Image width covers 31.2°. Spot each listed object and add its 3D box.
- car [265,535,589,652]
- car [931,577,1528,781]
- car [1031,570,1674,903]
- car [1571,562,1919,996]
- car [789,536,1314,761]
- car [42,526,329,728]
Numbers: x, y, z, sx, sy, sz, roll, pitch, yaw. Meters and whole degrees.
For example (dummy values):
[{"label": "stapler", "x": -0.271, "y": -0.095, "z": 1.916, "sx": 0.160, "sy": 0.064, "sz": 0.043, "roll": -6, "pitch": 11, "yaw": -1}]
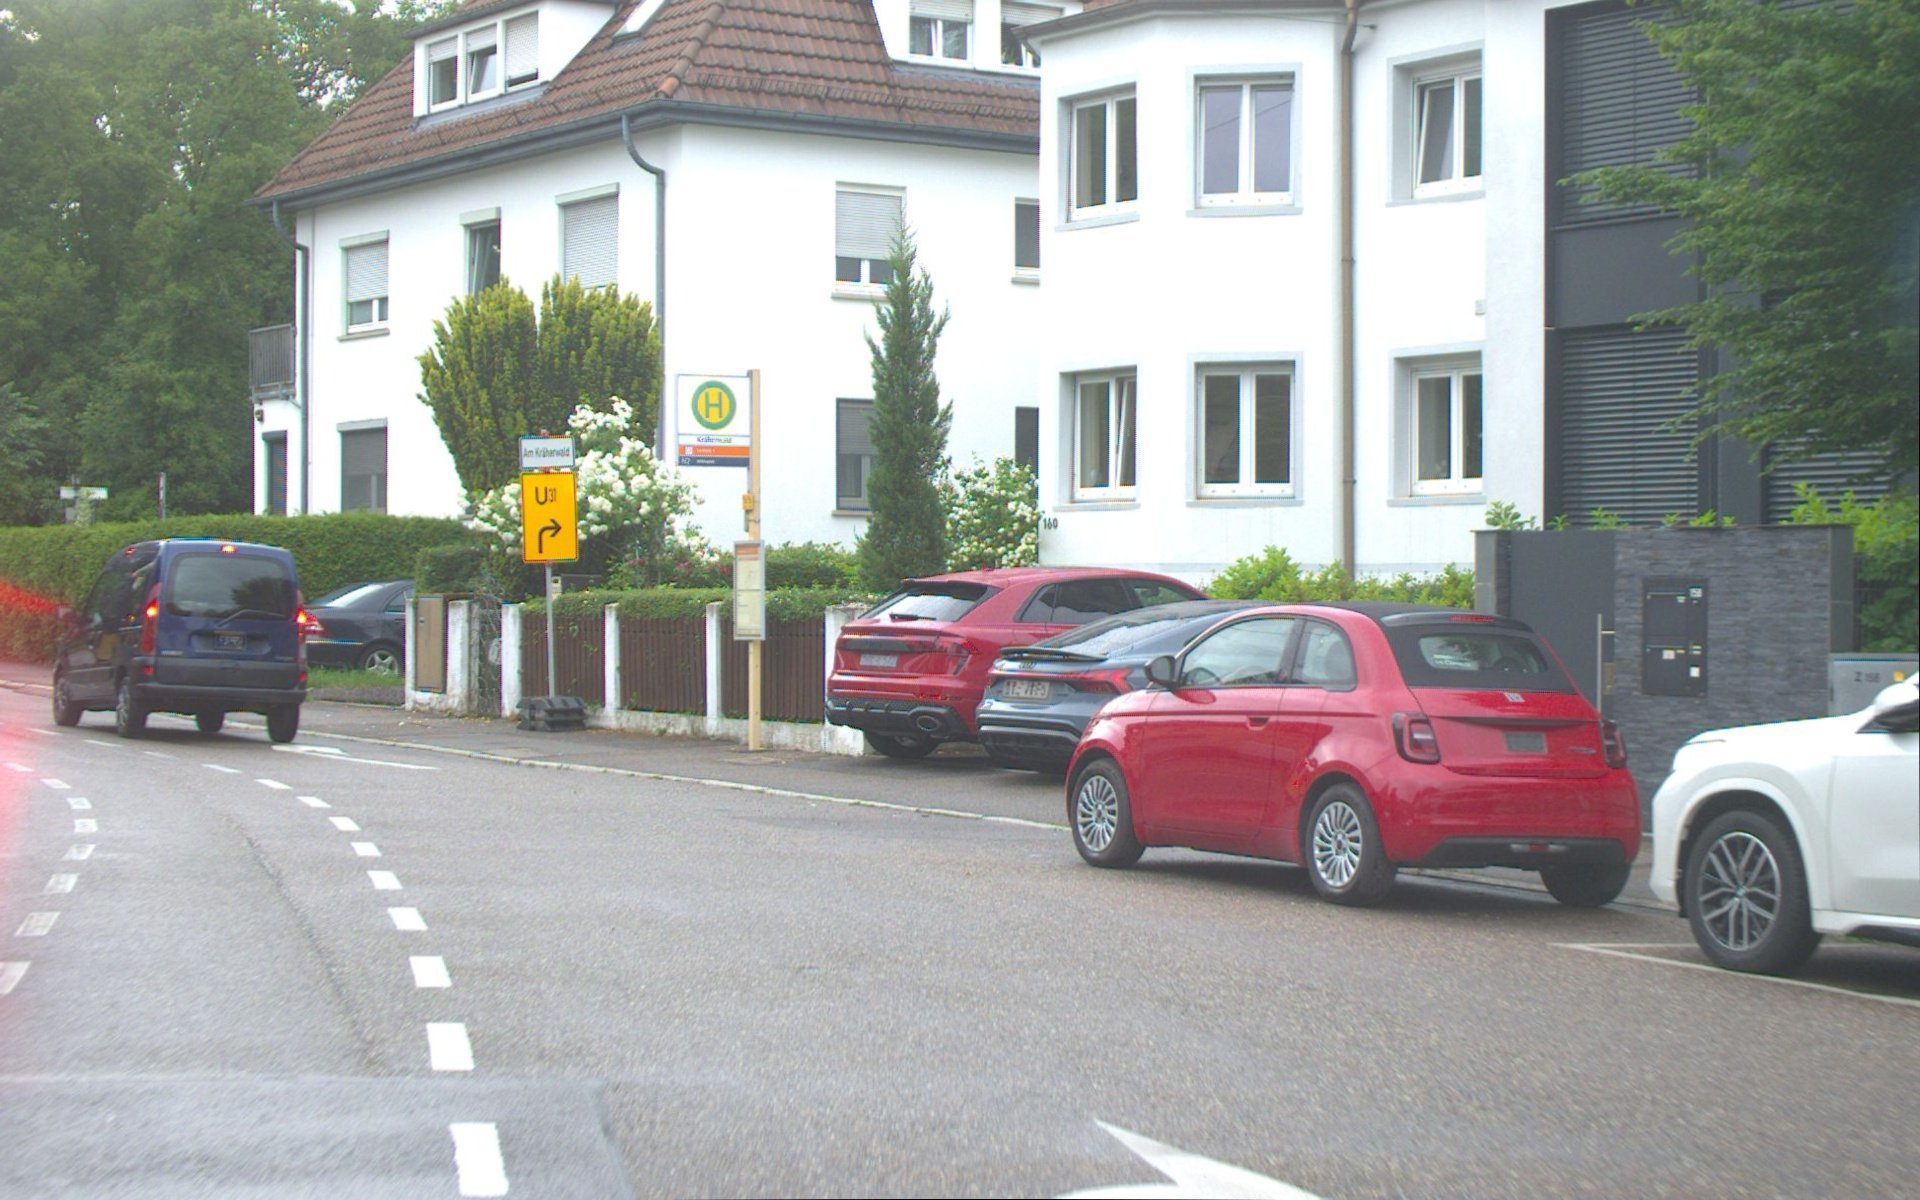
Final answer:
[{"label": "car", "x": -6.818, "y": -0.095, "z": 44.089, "sx": 3.743, "sy": 1.383, "sz": 1.616, "roll": 0, "pitch": 3, "yaw": -32}, {"label": "car", "x": 2.199, "y": 0.568, "z": 27.416, "sx": 4.548, "sy": 1.411, "sz": 2.000, "roll": -1, "pitch": 2, "yaw": -37}, {"label": "car", "x": 1.985, "y": 0.665, "z": 18.359, "sx": 1.611, "sy": 1.532, "sz": 3.541, "roll": 2, "pitch": 0, "yaw": -29}, {"label": "car", "x": 4.679, "y": 0.751, "z": 13.620, "sx": 1.744, "sy": 1.667, "sz": 4.648, "roll": 2, "pitch": 0, "yaw": -31}, {"label": "car", "x": 0.805, "y": 0.346, "z": 29.252, "sx": 4.074, "sy": 1.744, "sz": 2.000, "roll": -1, "pitch": 2, "yaw": -35}, {"label": "car", "x": -7.415, "y": 0.239, "z": 32.664, "sx": 1.808, "sy": 1.791, "sz": 4.001, "roll": 1, "pitch": 0, "yaw": -25}]
